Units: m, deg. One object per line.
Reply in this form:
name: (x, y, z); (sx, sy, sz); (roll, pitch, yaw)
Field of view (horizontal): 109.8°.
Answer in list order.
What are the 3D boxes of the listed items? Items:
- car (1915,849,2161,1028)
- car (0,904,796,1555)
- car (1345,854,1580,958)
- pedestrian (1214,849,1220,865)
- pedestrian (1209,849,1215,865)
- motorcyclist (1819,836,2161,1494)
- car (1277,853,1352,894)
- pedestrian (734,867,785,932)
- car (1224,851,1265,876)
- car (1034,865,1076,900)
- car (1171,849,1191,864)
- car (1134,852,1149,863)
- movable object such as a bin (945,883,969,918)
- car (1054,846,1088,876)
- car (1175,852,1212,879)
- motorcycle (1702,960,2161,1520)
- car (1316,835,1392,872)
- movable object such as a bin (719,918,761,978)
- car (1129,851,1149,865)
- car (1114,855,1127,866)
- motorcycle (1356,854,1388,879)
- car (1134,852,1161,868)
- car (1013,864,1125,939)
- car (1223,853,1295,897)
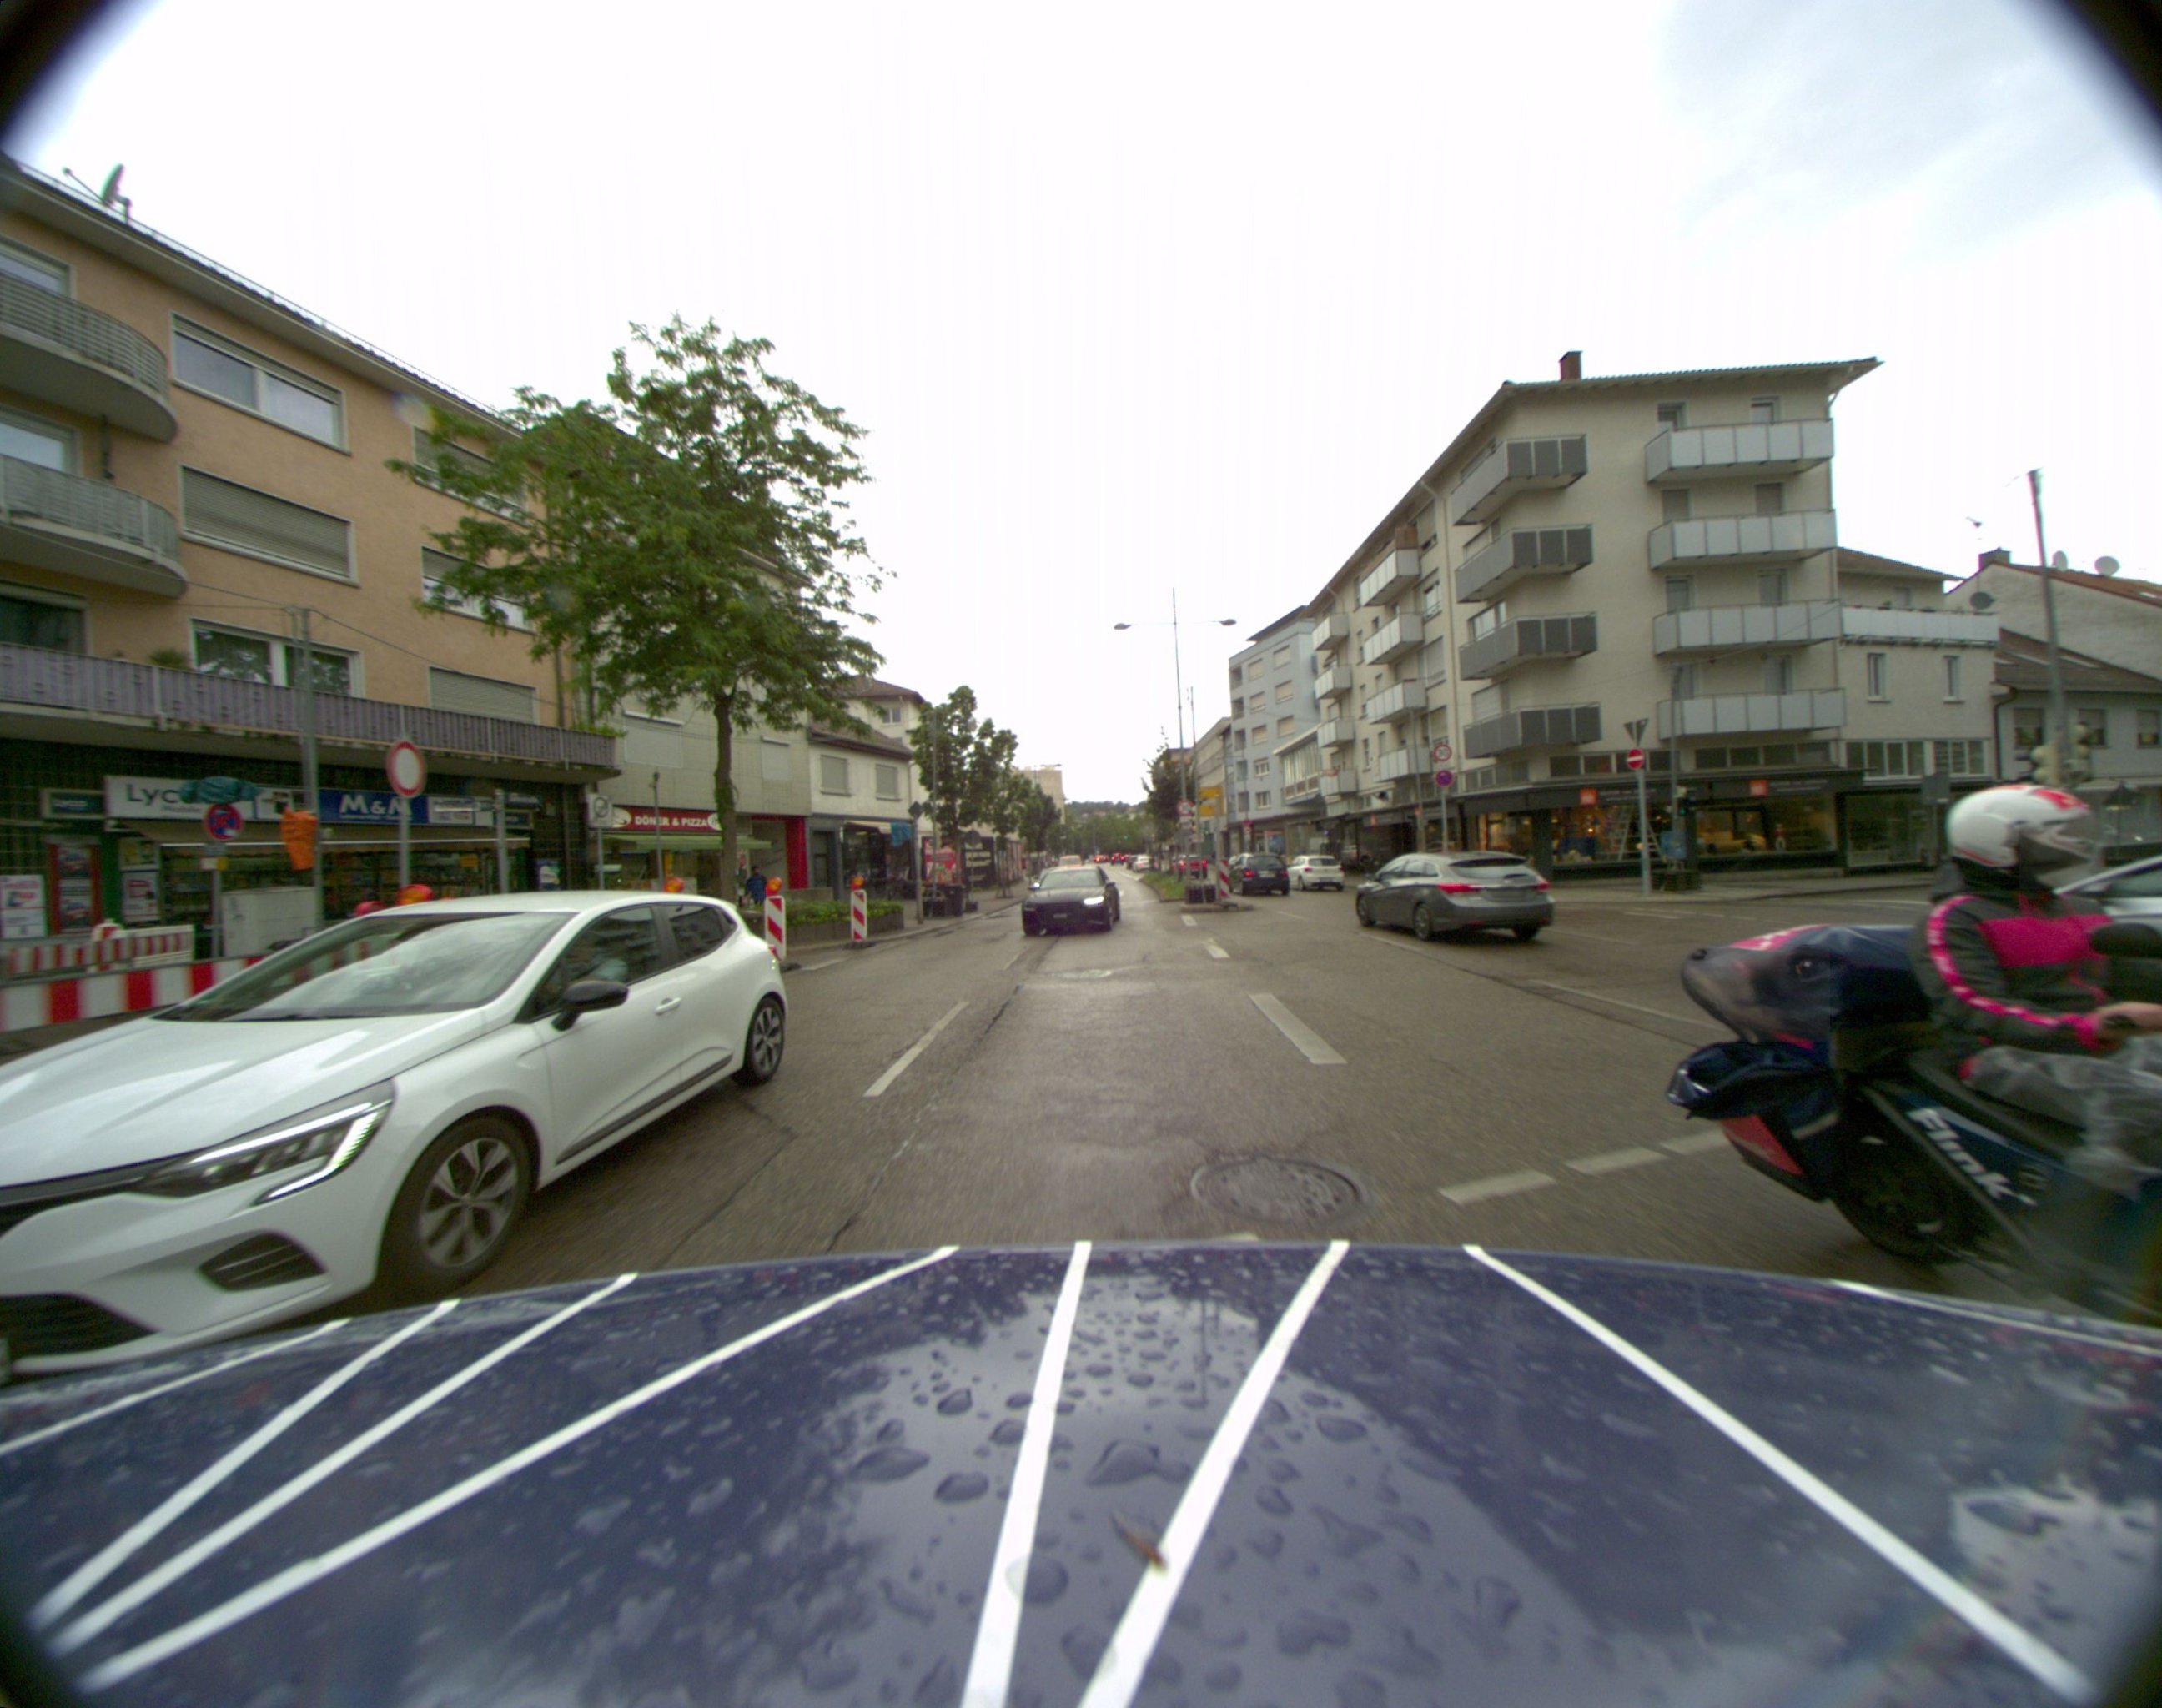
car: (9.898, 0.698, 5.821); (1.933, 1.465, 4.603); (0, 0, -1)
car: (-3.104, 1.080, 3.884); (1.680, 1.395, 4.001); (-2, -1, 1)
car: (6.470, 0.770, 13.582); (1.857, 1.465, 4.648); (-2, 0, 0)
pedestrian: (14.439, 0.299, 80.405); (0.513, 1.679, 0.531); (-1, 3, 1)
pedestrian: (13.882, 0.306, 80.432); (0.527, 1.679, 0.531); (-1, 3, 1)
motorcyclist: (2.881, 0.708, 2.071); (0.917, 1.485, 0.864); (-2, 2, -7)
car: (9.690, 0.753, 31.864); (1.777, 1.515, 4.283); (-2, 0, 0)
pedestrian: (-9.319, 1.304, 22.032); (0.968, 1.782, 0.908); (1, 2, 32)
car: (10.712, 0.598, 50.135); (1.851, 1.488, 4.000); (-3, 0, 1)
car: (-1.209, 1.305, 35.879); (1.812, 1.331, 4.277); (-4, 1, -2)
car: (11.227, 0.255, 85.530); (1.777, 1.579, 4.026); (-1, 0, 0)
car: (8.030, 0.483, 101.210); (1.702, 1.432, 3.840); (-1, 0, 1)
movable object such as a bin: (-4.062, 1.517, 24.900); (0.579, 1.104, 0.666); (-1, -1, 7)
car: (-0.688, 0.487, 58.856); (2.198, 2.074, 5.933); (-4, 1, 2)
car: (7.172, 0.693, 48.724); (1.851, 1.585, 4.091); (-2, 0, 1)
motorcycle: (2.902, 1.028, 2.022); (0.589, 1.184, 2.101); (-2, 0, -6)
car: (17.018, -0.042, 47.472); (3.996, 2.042, 1.895); (-3, 1, 2)
movable object such as a bin: (-5.618, 1.547, 12.534); (0.420, 0.924, 0.531); (-1, -1, 0)
car: (6.219, 0.439, 81.968); (1.821, 1.432, 4.157); (-1, 0, 1)
car: (5.877, 0.944, 112.866); (1.777, 1.634, 3.840); (-1, 0, 0)
motorcycle: (14.458, 0.598, 37.786); (0.670, 1.081, 2.195); (-5, 1, 0)
car: (5.925, 0.524, 68.473); (1.850, 1.409, 4.614); (0, 0, -2)
car: (-0.108, 1.051, 18.769); (2.039, 1.379, 5.295); (-2, 1, 6)
car: (6.804, 0.756, 29.493); (1.834, 1.534, 4.284); (-2, 0, 1)
